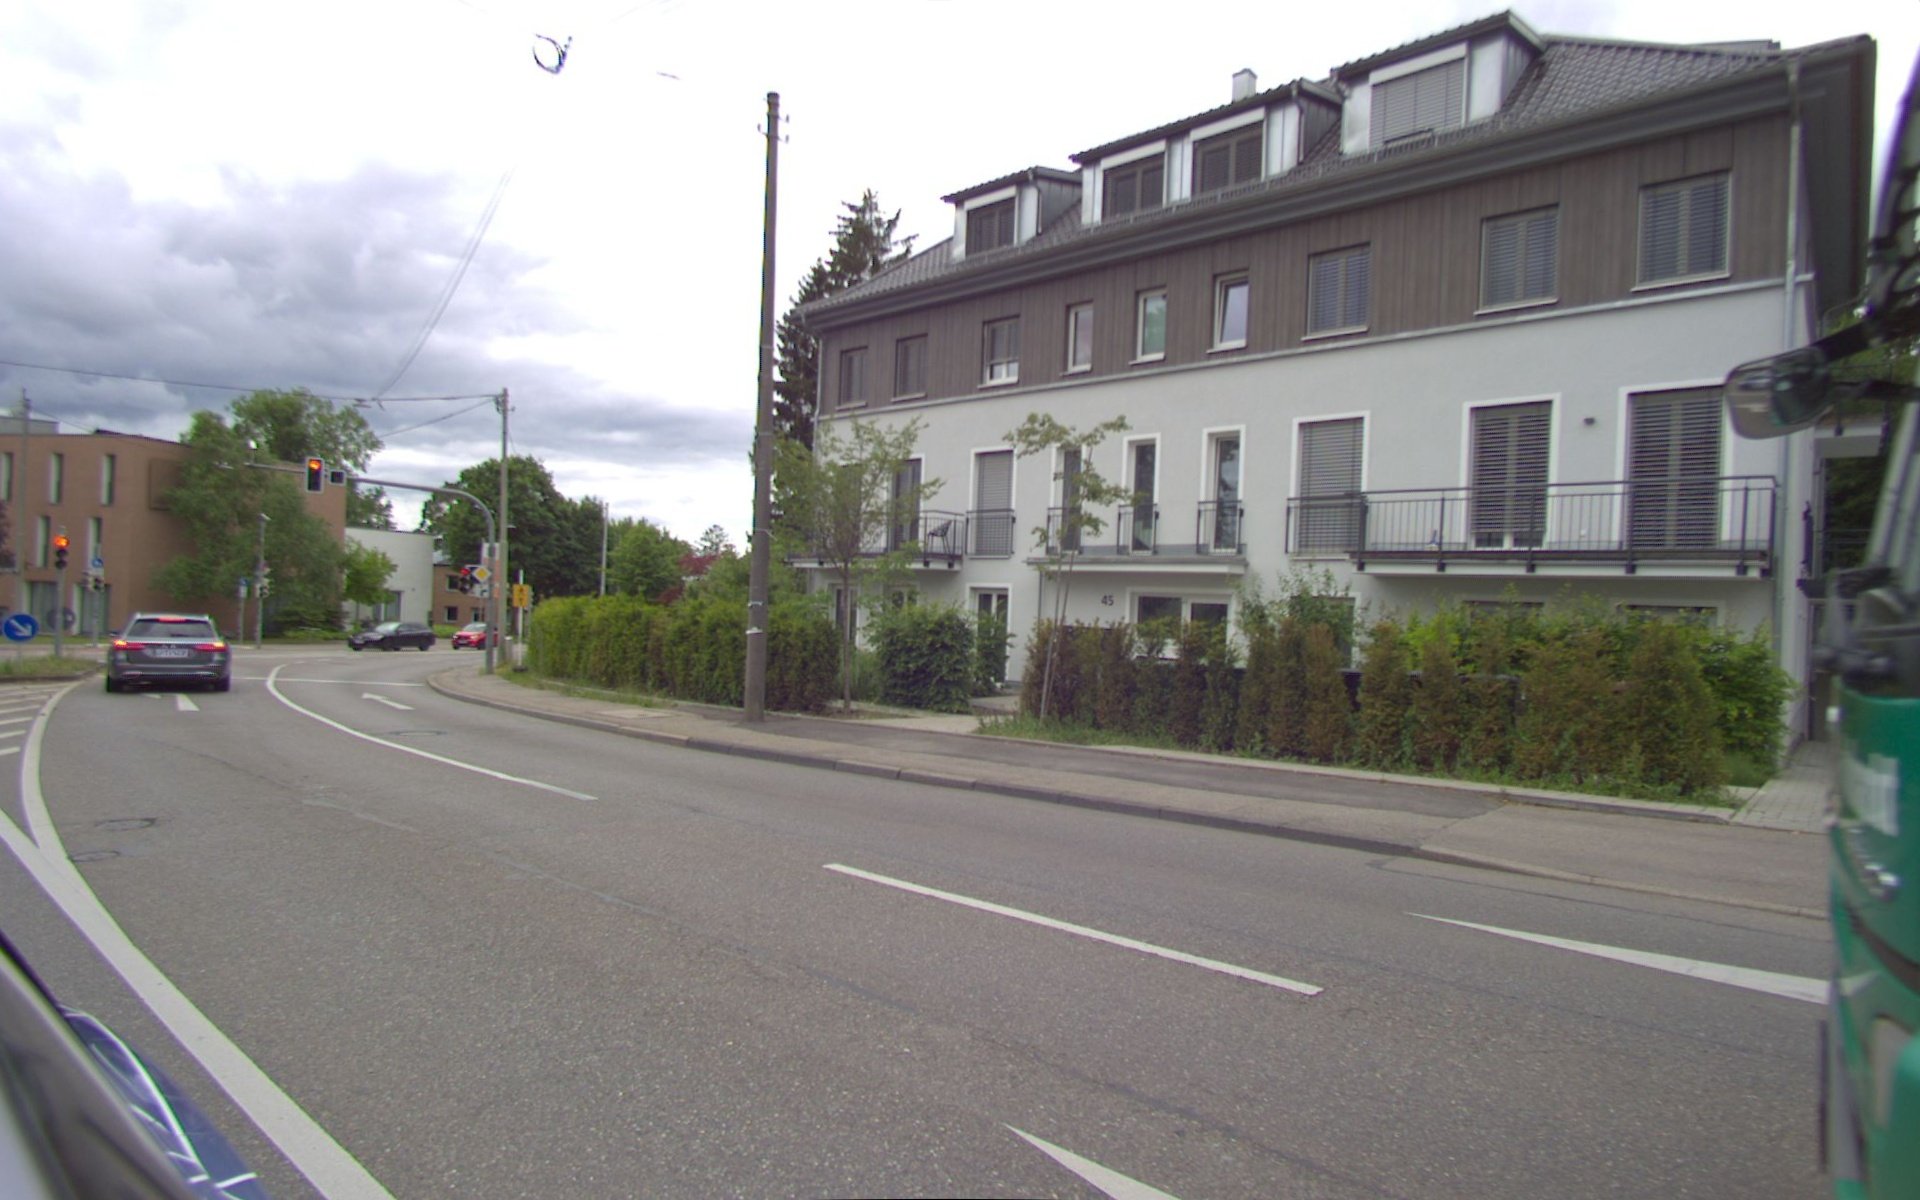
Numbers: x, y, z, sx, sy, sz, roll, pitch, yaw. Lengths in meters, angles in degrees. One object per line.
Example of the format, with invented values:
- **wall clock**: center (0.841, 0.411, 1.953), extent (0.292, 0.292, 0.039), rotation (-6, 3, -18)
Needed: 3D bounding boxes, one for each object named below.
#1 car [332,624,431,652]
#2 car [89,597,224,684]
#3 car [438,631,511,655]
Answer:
- **car**: center (-28.798, 1.858, 50.520), extent (1.984, 1.253, 3.975), rotation (1, -1, 19)
- **car**: center (-15.550, 0.777, 19.715), extent (1.801, 1.496, 4.758), rotation (3, -3, -37)
- **car**: center (-27.674, 2.411, 57.808), extent (1.975, 1.209, 3.994), rotation (2, -1, 5)
